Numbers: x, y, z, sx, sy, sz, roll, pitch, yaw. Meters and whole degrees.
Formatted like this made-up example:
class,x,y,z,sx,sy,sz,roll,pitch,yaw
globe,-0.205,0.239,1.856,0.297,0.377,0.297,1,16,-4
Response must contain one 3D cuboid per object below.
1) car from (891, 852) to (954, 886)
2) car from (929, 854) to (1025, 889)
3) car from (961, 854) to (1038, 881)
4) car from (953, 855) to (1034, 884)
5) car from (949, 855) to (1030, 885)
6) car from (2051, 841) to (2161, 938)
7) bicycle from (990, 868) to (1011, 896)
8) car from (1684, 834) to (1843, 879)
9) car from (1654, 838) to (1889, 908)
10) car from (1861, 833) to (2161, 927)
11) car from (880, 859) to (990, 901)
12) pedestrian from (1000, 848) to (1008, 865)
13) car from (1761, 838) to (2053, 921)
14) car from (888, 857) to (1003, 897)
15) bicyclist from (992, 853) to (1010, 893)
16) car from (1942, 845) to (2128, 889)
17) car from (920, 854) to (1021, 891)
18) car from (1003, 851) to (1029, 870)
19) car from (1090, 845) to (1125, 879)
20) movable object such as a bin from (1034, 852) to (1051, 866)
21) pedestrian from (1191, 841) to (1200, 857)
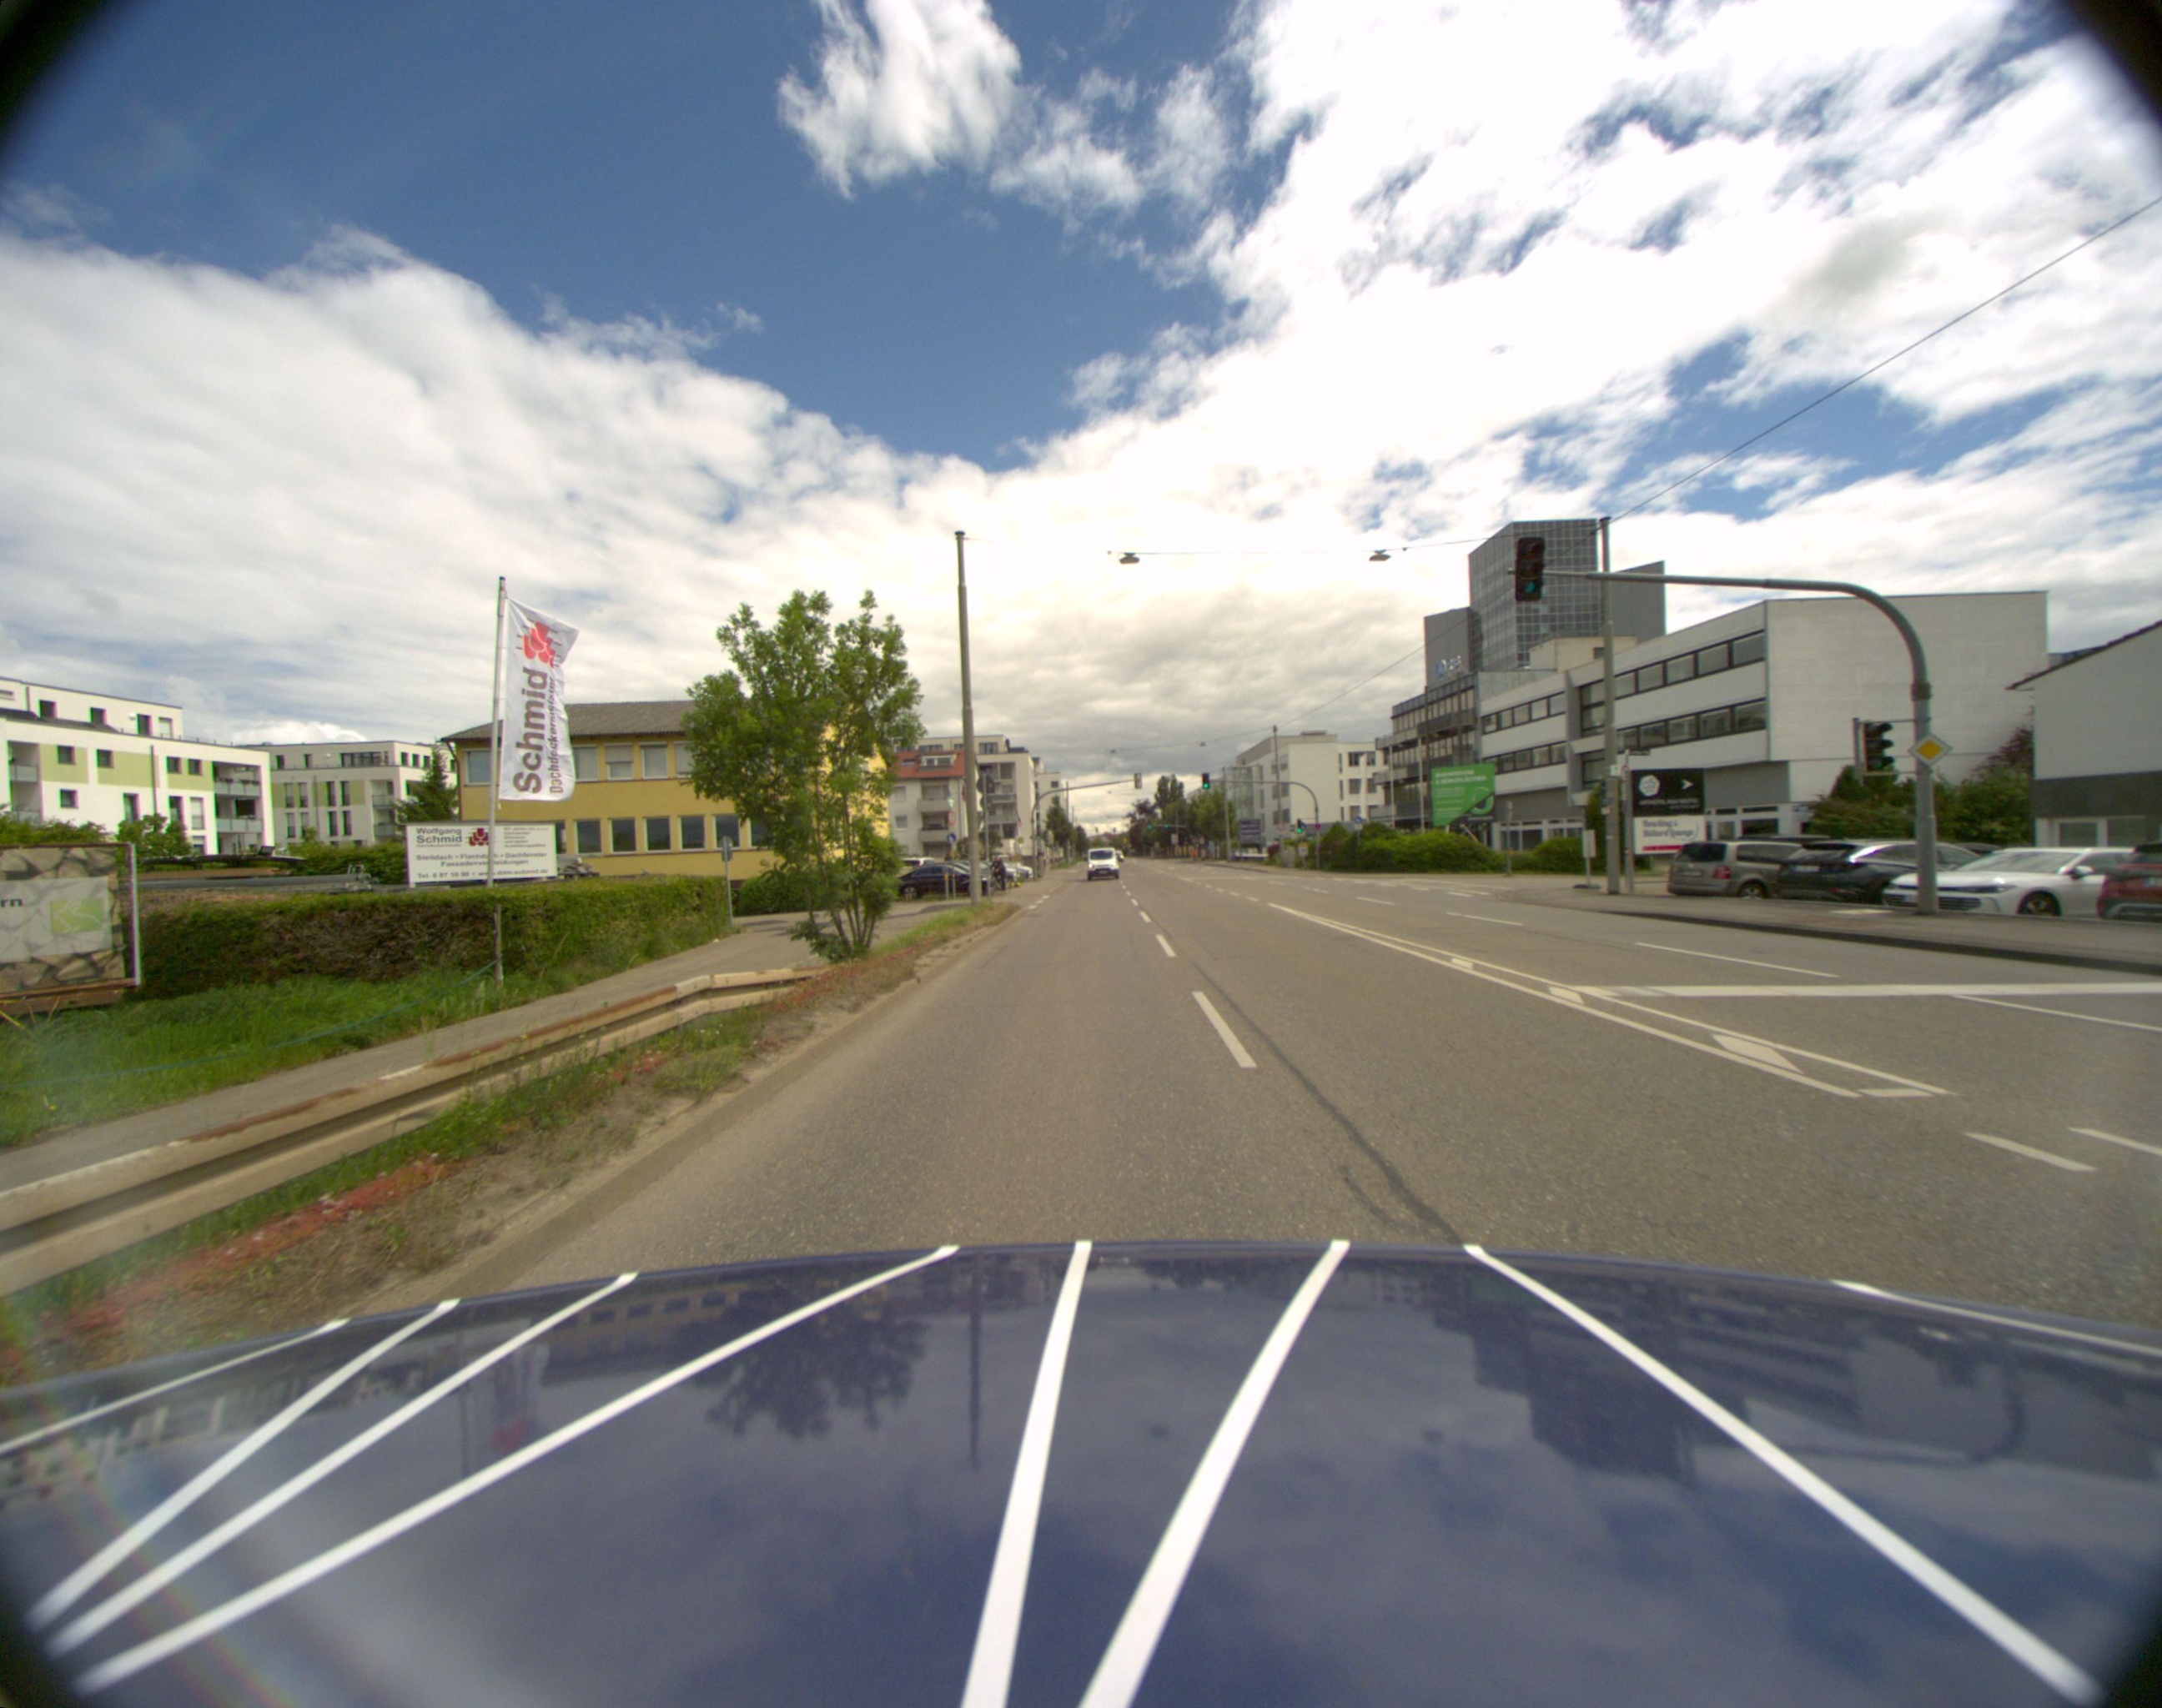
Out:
class,x,y,z,sx,sy,sz,roll,pitch,yaw
car,-9.847,0.915,47.701,1.979,1.811,5.033,-2,2,11
car,-5.598,0.920,41.425,4.811,1.472,2.032,-4,1,3
car,-5.311,0.889,50.014,4.708,1.484,2.045,-3,0,1
car,-5.361,0.957,47.140,4.670,1.485,2.035,-3,1,1
car,-5.273,0.915,44.267,4.380,1.396,1.988,-4,0,0
car,17.172,0.606,10.935,3.997,1.362,1.848,3,1,-1
bicycle,-3.391,1.168,32.110,0.639,1.057,1.977,1,1,2
car,29.446,0.078,32.945,4.765,1.783,2.169,0,3,3
car,16.536,0.458,18.328,4.105,1.390,1.907,3,0,-6
car,16.865,0.446,13.430,4.236,1.379,1.983,3,1,-5
car,-6.290,1.110,33.208,4.332,1.391,2.003,-4,2,-1
pedestrian,-8.052,0.256,79.422,0.507,1.755,0.501,-4,2,18
car,17.069,0.479,15.862,3.997,1.417,1.854,3,1,-1
car,-6.259,1.036,35.457,4.864,1.422,2.038,-4,1,2
bicyclist,-3.378,0.800,32.093,0.639,1.666,0.890,1,1,1
car,32.046,0.445,25.615,3.936,1.411,1.811,0,-1,1
car,-5.568,0.910,38.705,4.687,1.485,2.015,-4,1,2
car,-5.738,0.546,67.240,1.880,1.536,4.521,-2,0,0
car,1.653,0.468,48.819,1.999,1.906,3.999,-3,1,-1
movable object such as a bin,-3.987,0.562,79.047,1.320,1.353,1.252,-2,2,17
pedestrian,14.848,-0.629,98.343,0.724,2.002,0.812,-3,2,44
